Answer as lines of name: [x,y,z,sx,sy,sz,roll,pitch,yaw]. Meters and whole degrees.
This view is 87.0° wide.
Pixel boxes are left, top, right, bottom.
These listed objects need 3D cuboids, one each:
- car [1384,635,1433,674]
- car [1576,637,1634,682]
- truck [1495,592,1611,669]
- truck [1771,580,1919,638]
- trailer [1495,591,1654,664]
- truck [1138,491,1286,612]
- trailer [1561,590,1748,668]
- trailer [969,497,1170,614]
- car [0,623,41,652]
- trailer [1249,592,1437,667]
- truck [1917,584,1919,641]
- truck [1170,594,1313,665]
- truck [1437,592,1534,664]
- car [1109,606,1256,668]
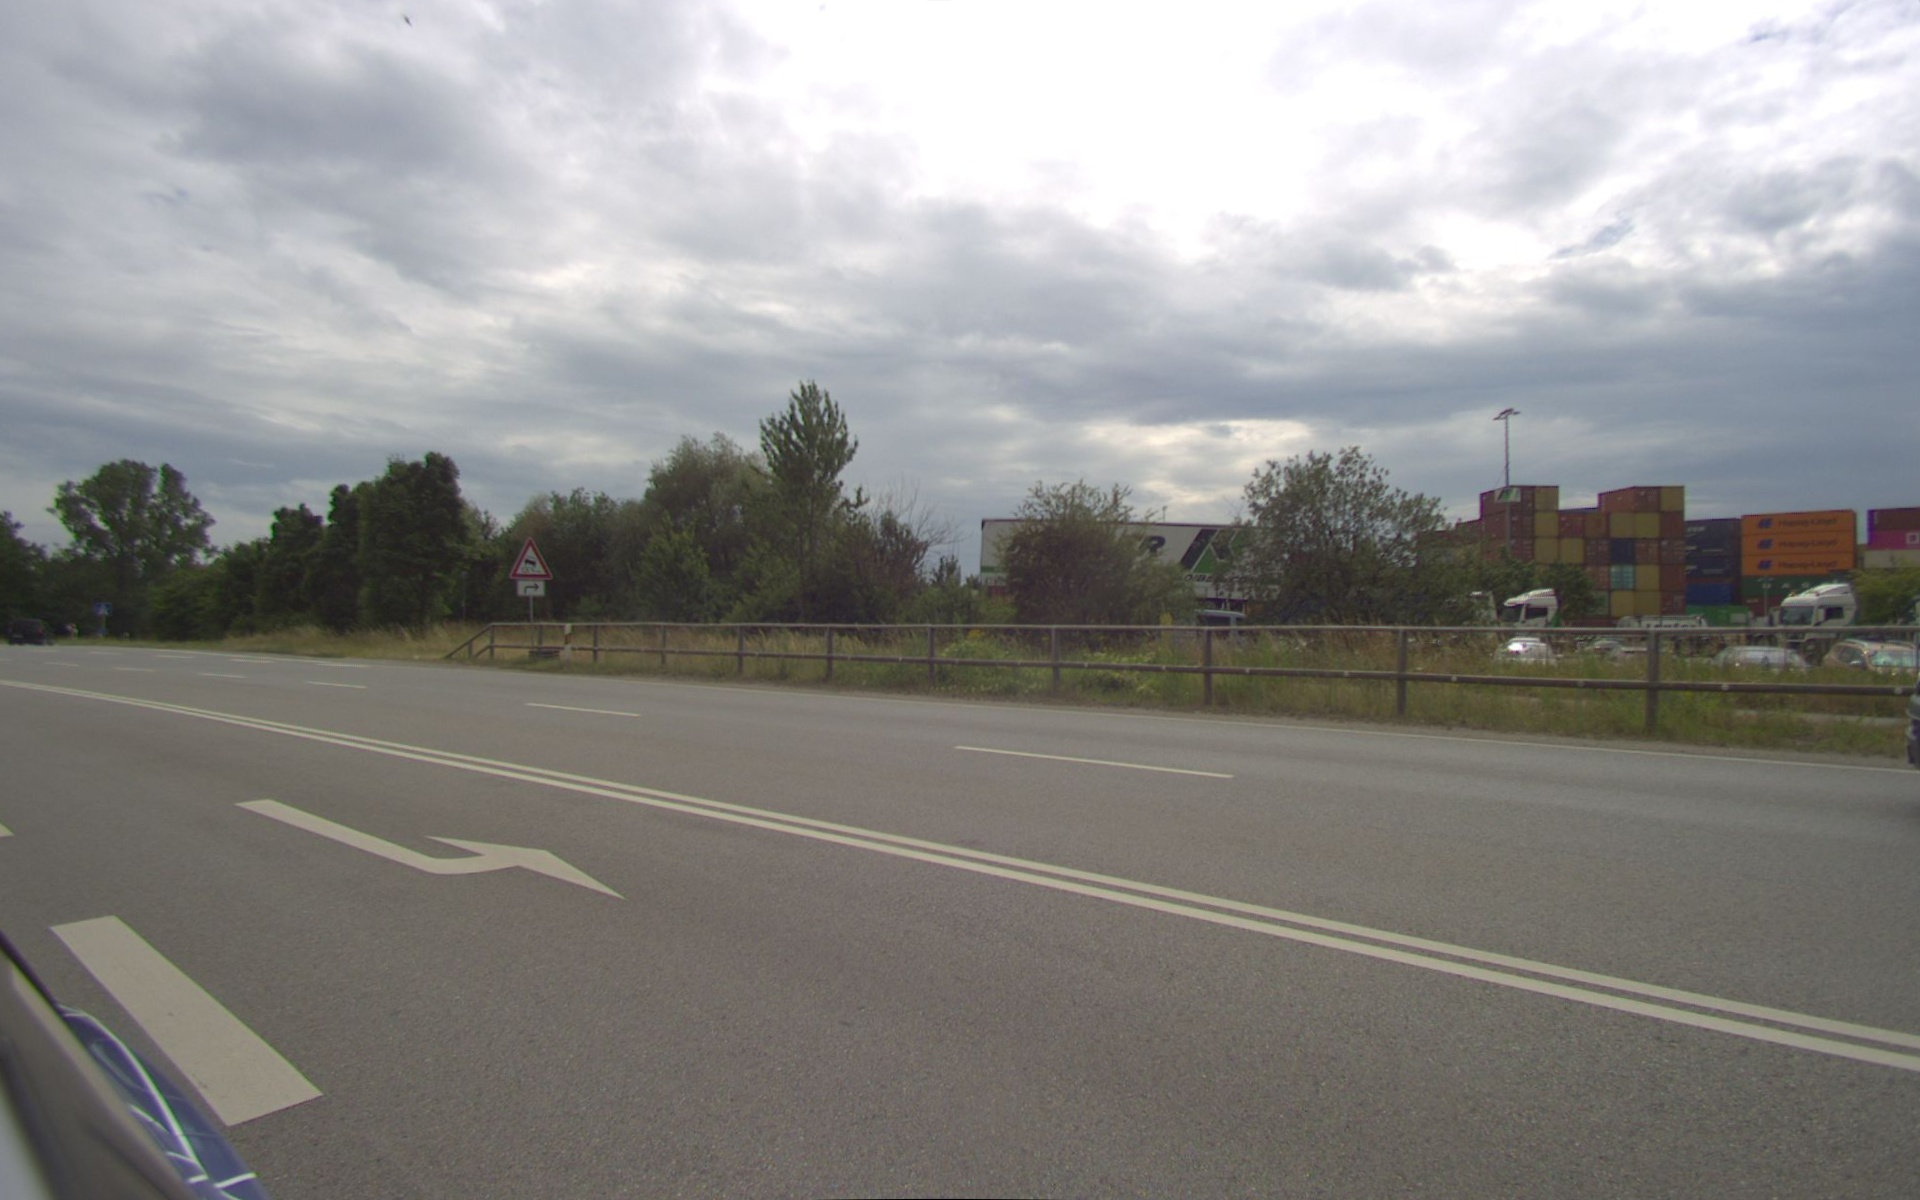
car: [22.114,2.635,49.804,1.836,1.732,3.961,-1,-1,29]
car: [27.919,2.533,43.896,1.836,1.732,3.961,-1,-1,29]
truck: [34.590,1.752,59.163,5.354,4.325,2.198,-1,-1,0]
truck: [44.414,0.446,49.802,6.572,2.703,2.649,-1,-1,6]
trailer: [38.125,1.691,62.900,8.381,4.325,2.198,-1,-1,0]
truck: [11.234,-2.045,45.183,6.135,5.034,2.790,-1,0,16]
trailer: [40.502,1.687,59.140,9.246,4.325,2.198,-1,-1,0]
trailer: [5.078,-1.927,47.036,8.905,5.034,2.792,-1,0,17]
car: [-62.068,2.436,66.785,1.969,1.811,4.326,0,-1,-40]
trailer: [23.334,1.812,61.957,10.364,4.325,3.209,-1,-1,30]
truck: [48.307,0.513,46.089,6.568,2.703,2.650,-1,-1,3]
truck: [18.030,1.882,65.086,8.286,4.325,3.209,-1,-1,30]
truck: [32.599,1.752,62.907,4.786,4.325,2.198,-1,-1,0]
car: [7.479,1.194,34.065,4.467,1.890,2.007,-1,-1,-23]
